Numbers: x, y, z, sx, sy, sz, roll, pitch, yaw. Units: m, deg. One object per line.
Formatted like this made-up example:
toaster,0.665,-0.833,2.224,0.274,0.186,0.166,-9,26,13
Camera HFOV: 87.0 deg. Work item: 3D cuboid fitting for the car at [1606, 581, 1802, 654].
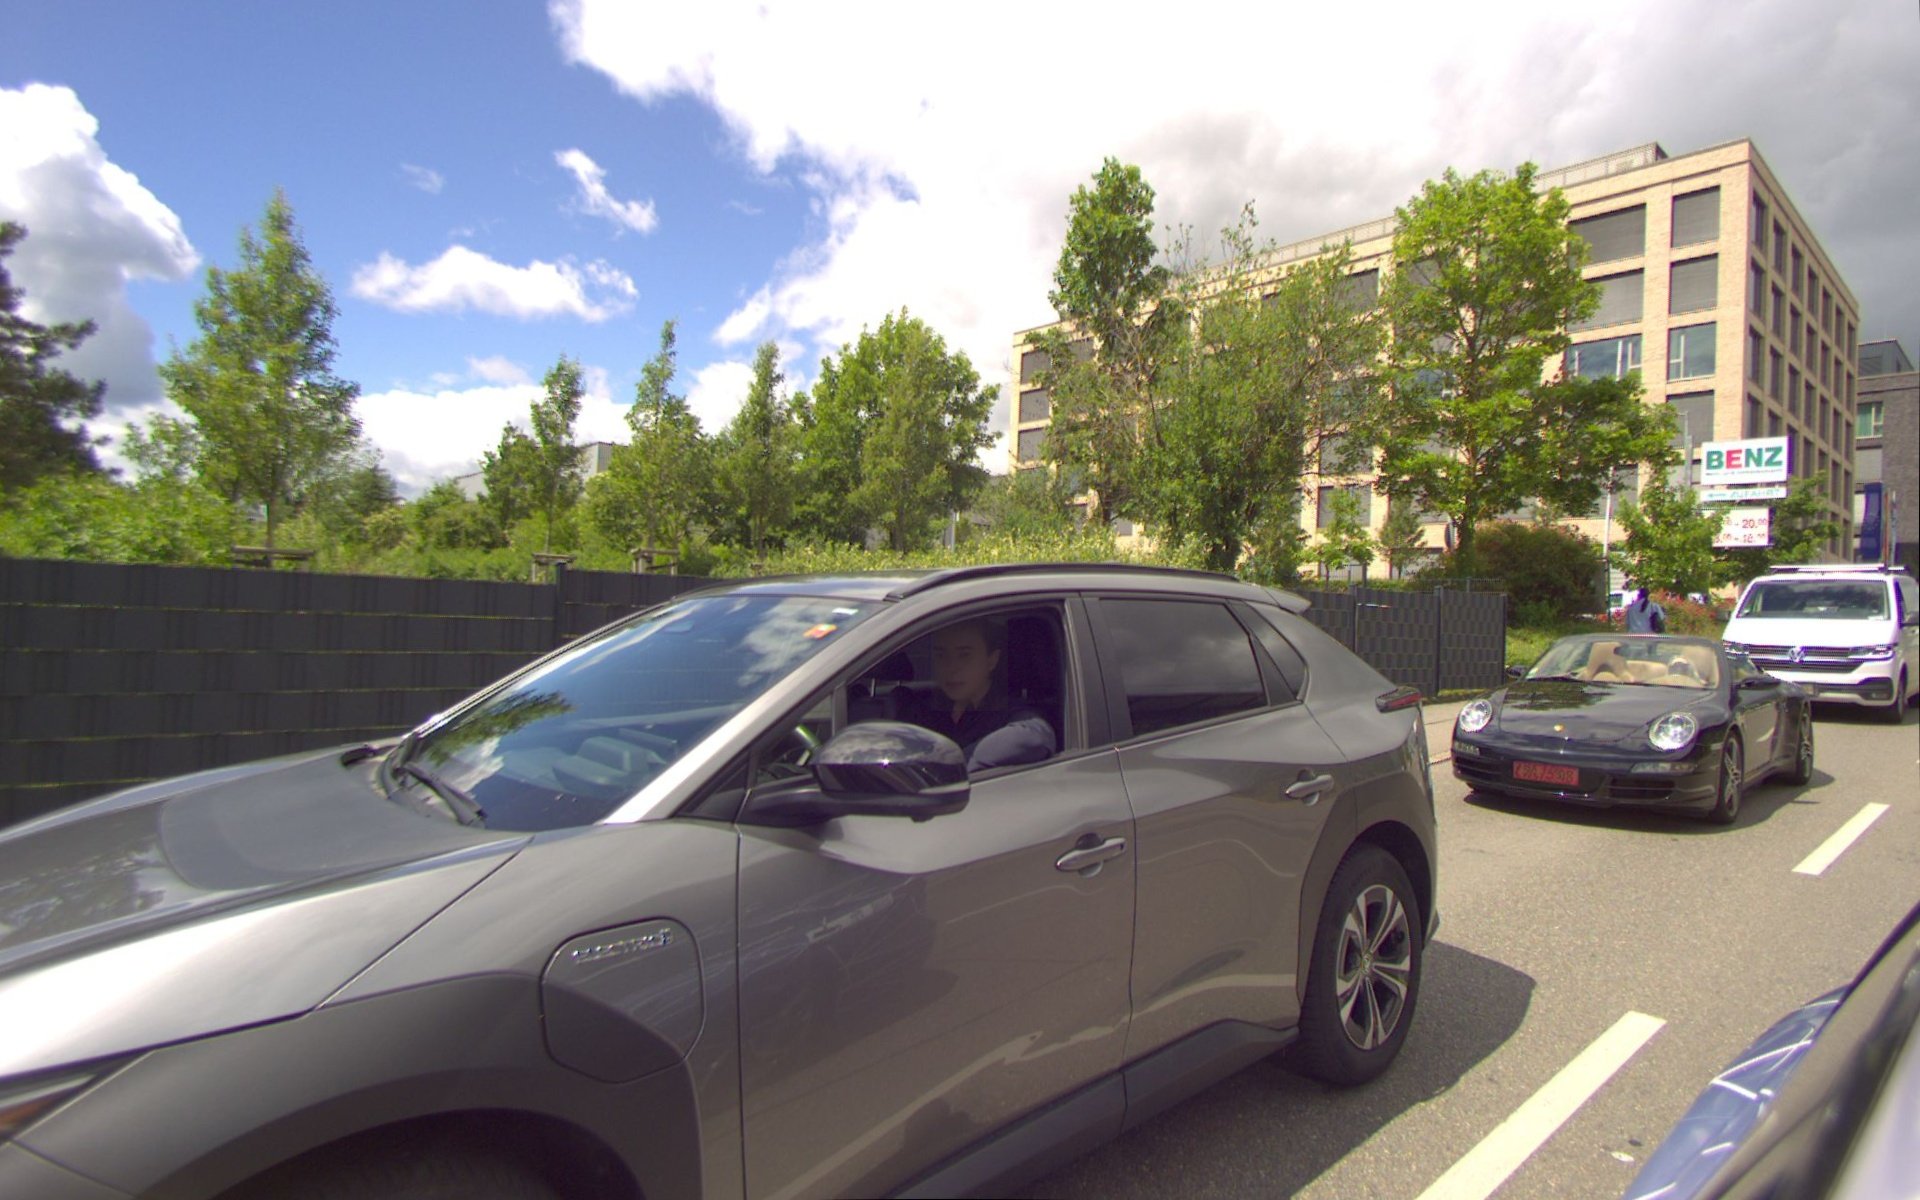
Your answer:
car,19.973,0.411,27.274,1.793,1.754,3.991,0,2,-44

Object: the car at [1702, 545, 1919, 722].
car,12.338,0.383,14.226,4.677,2.075,2.087,0,0,-41

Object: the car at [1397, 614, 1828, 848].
car,5.268,0.802,7.974,3.967,1.310,1.823,0,0,-41

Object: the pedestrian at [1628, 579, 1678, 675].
pedestrian,12.380,0.468,18.075,0.435,1.678,0.631,0,1,-42

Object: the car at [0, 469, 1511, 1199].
car,-0.355,0.671,2.909,4.501,1.649,1.997,0,1,-42

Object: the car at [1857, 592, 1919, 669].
car,20.233,0.595,21.072,3.930,1.481,1.817,0,2,-41
